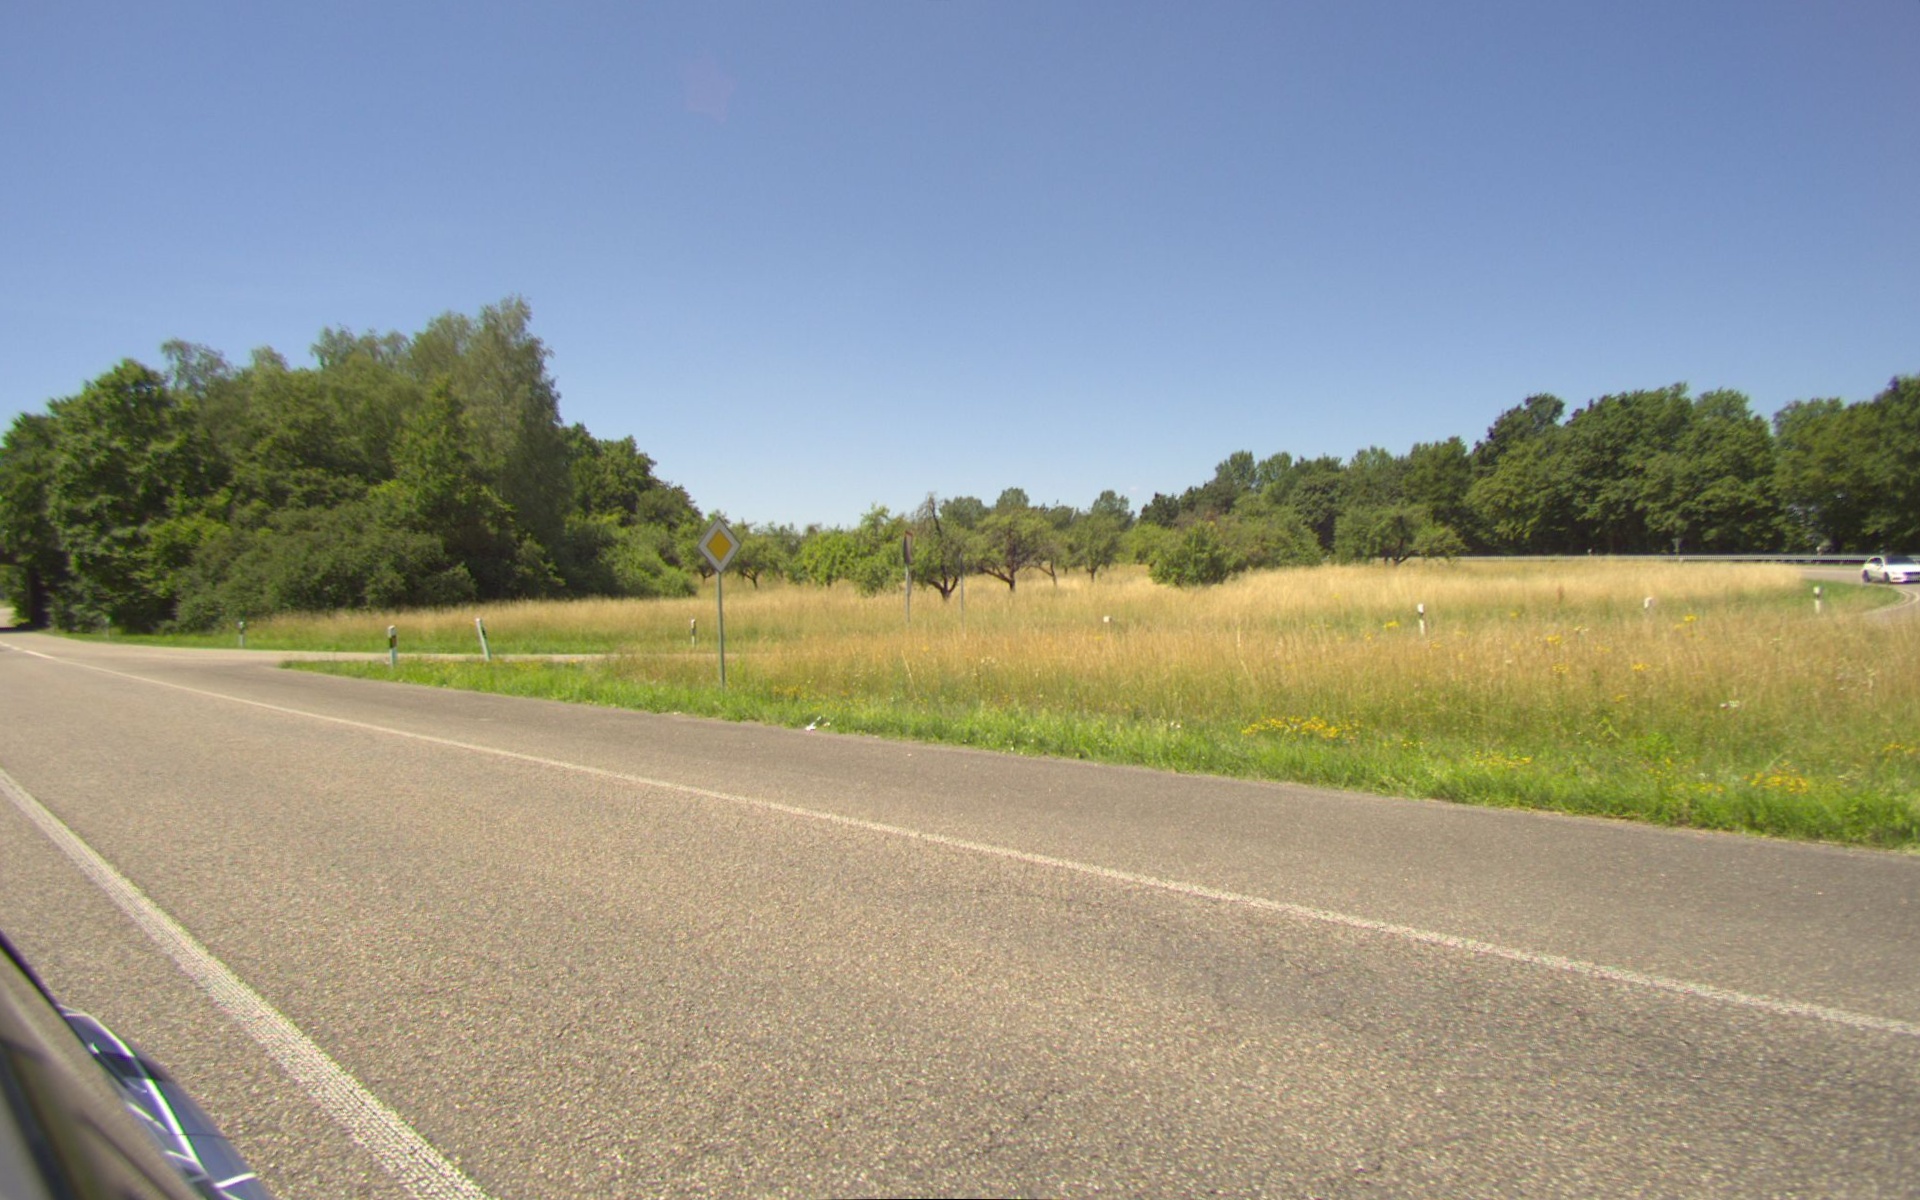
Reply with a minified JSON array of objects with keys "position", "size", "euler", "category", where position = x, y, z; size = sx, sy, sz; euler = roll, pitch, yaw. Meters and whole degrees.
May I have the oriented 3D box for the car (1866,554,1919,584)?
[{"position":[50.472,-1.639,54.343],"size":[1.655,1.478,3.965],"euler":[-1,0,25],"category":"car"}]
